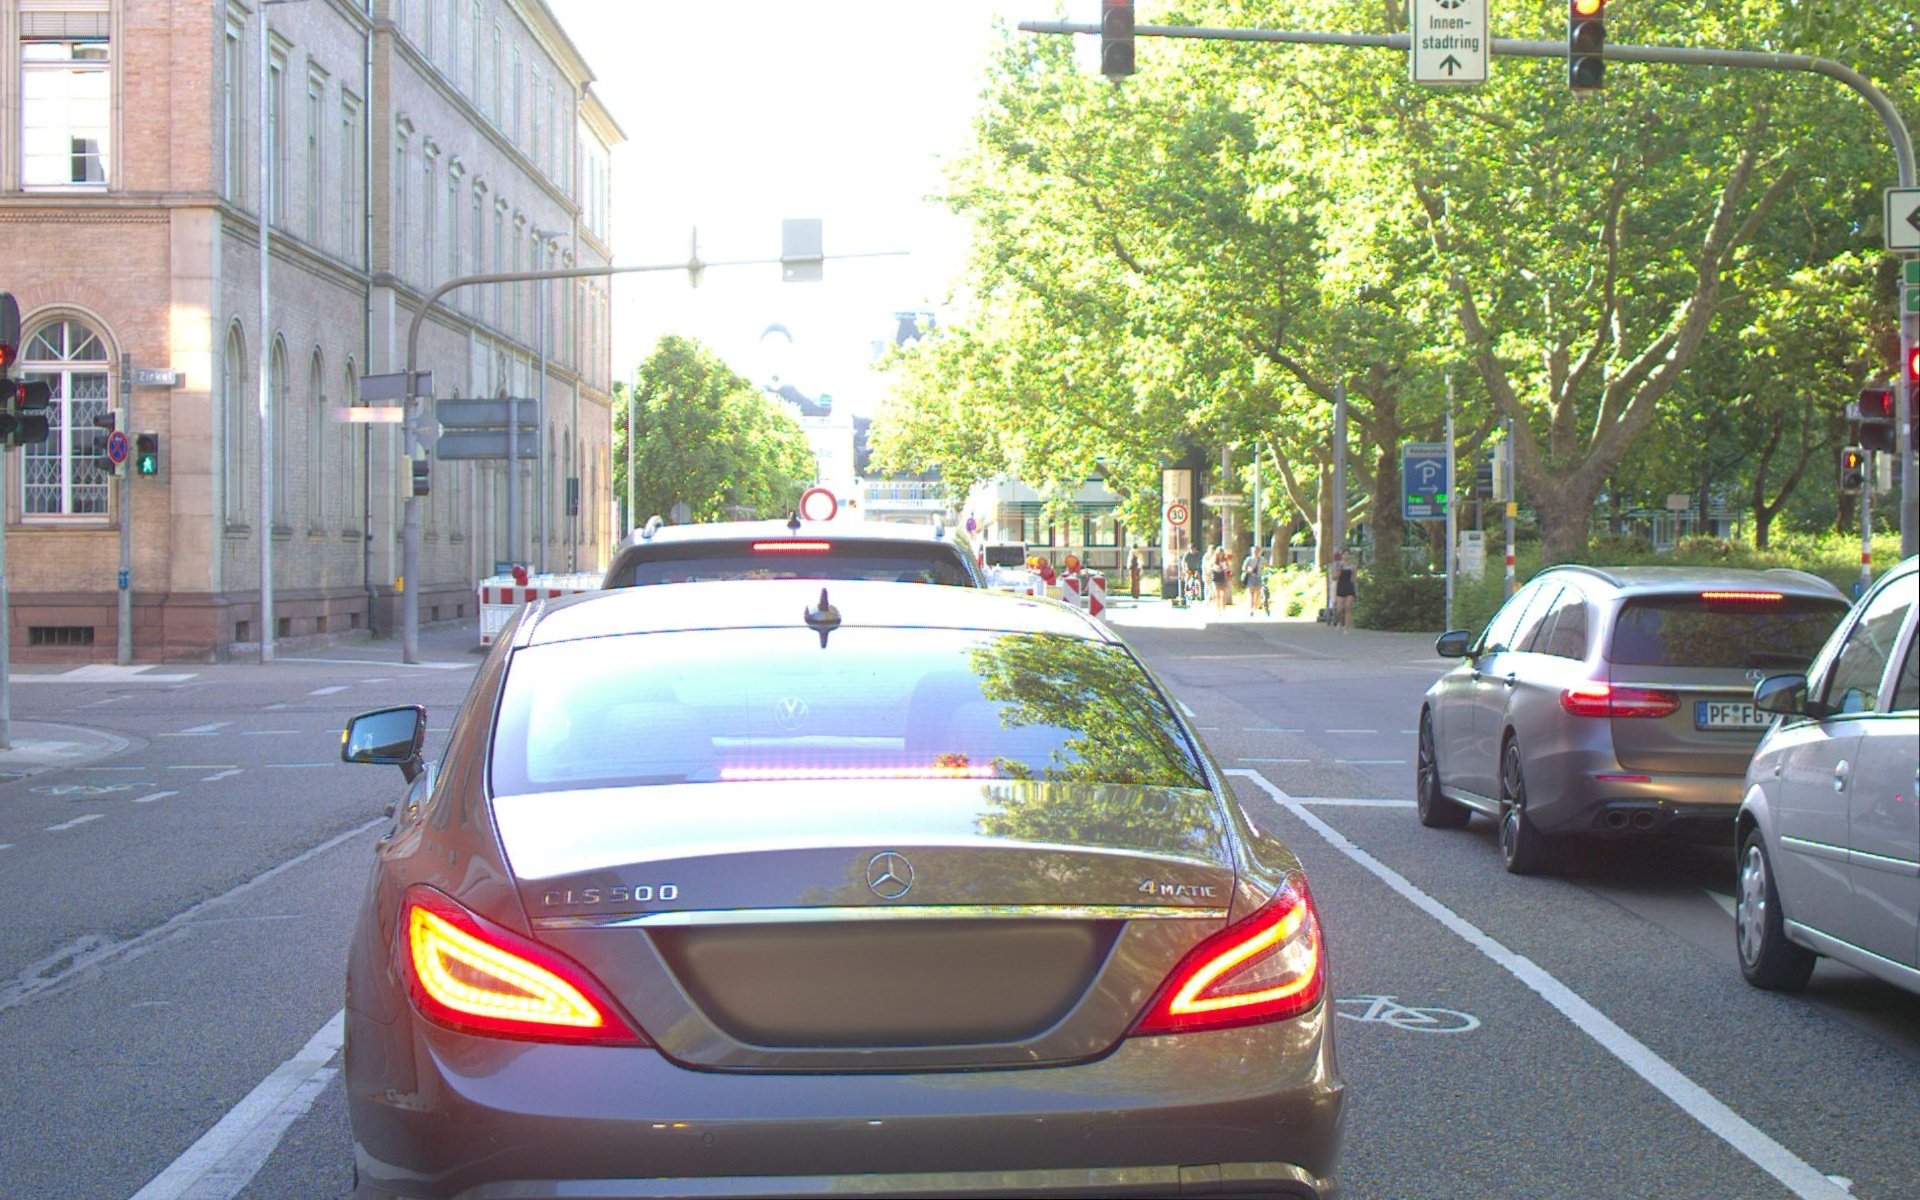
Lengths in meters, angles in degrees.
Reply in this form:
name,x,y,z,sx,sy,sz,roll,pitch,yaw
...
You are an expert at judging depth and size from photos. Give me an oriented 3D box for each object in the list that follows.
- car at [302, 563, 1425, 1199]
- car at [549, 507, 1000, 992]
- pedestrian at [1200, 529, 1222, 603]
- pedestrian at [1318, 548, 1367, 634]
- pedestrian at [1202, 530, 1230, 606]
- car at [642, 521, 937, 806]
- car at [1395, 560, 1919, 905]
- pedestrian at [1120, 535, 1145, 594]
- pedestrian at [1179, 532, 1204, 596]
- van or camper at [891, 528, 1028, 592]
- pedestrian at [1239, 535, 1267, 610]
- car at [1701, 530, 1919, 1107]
name,x,y,z,sx,sy,sz,roll,pitch,yaw
car,-0.427,0.666,7.673,1.803,1.451,4.352,0,1,-8
car,-0.720,0.481,13.668,1.517,1.641,3.881,1,1,-3
pedestrian,6.879,-0.927,94.380,0.539,2.007,0.474,1,0,-1
pedestrian,7.252,-0.176,65.219,0.830,1.601,0.651,1,1,-1
pedestrian,6.197,-0.774,83.337,0.603,1.815,0.651,0,1,-1
car,-1.076,0.361,23.239,1.820,1.756,4.000,0,1,-1
car,3.513,0.564,17.533,1.913,1.459,4.669,1,1,-1
pedestrian,5.341,-1.096,106.566,0.701,1.831,0.737,0,1,-3
pedestrian,6.588,-1.024,97.906,0.611,1.815,0.932,1,1,-1
van or camper,-0.050,-1.261,106.368,1.994,1.935,4.594,0,1,-34
pedestrian,7.096,-0.668,83.264,0.603,1.815,0.651,1,1,-1
car,3.557,0.612,10.682,1.701,1.597,3.859,2,1,1
